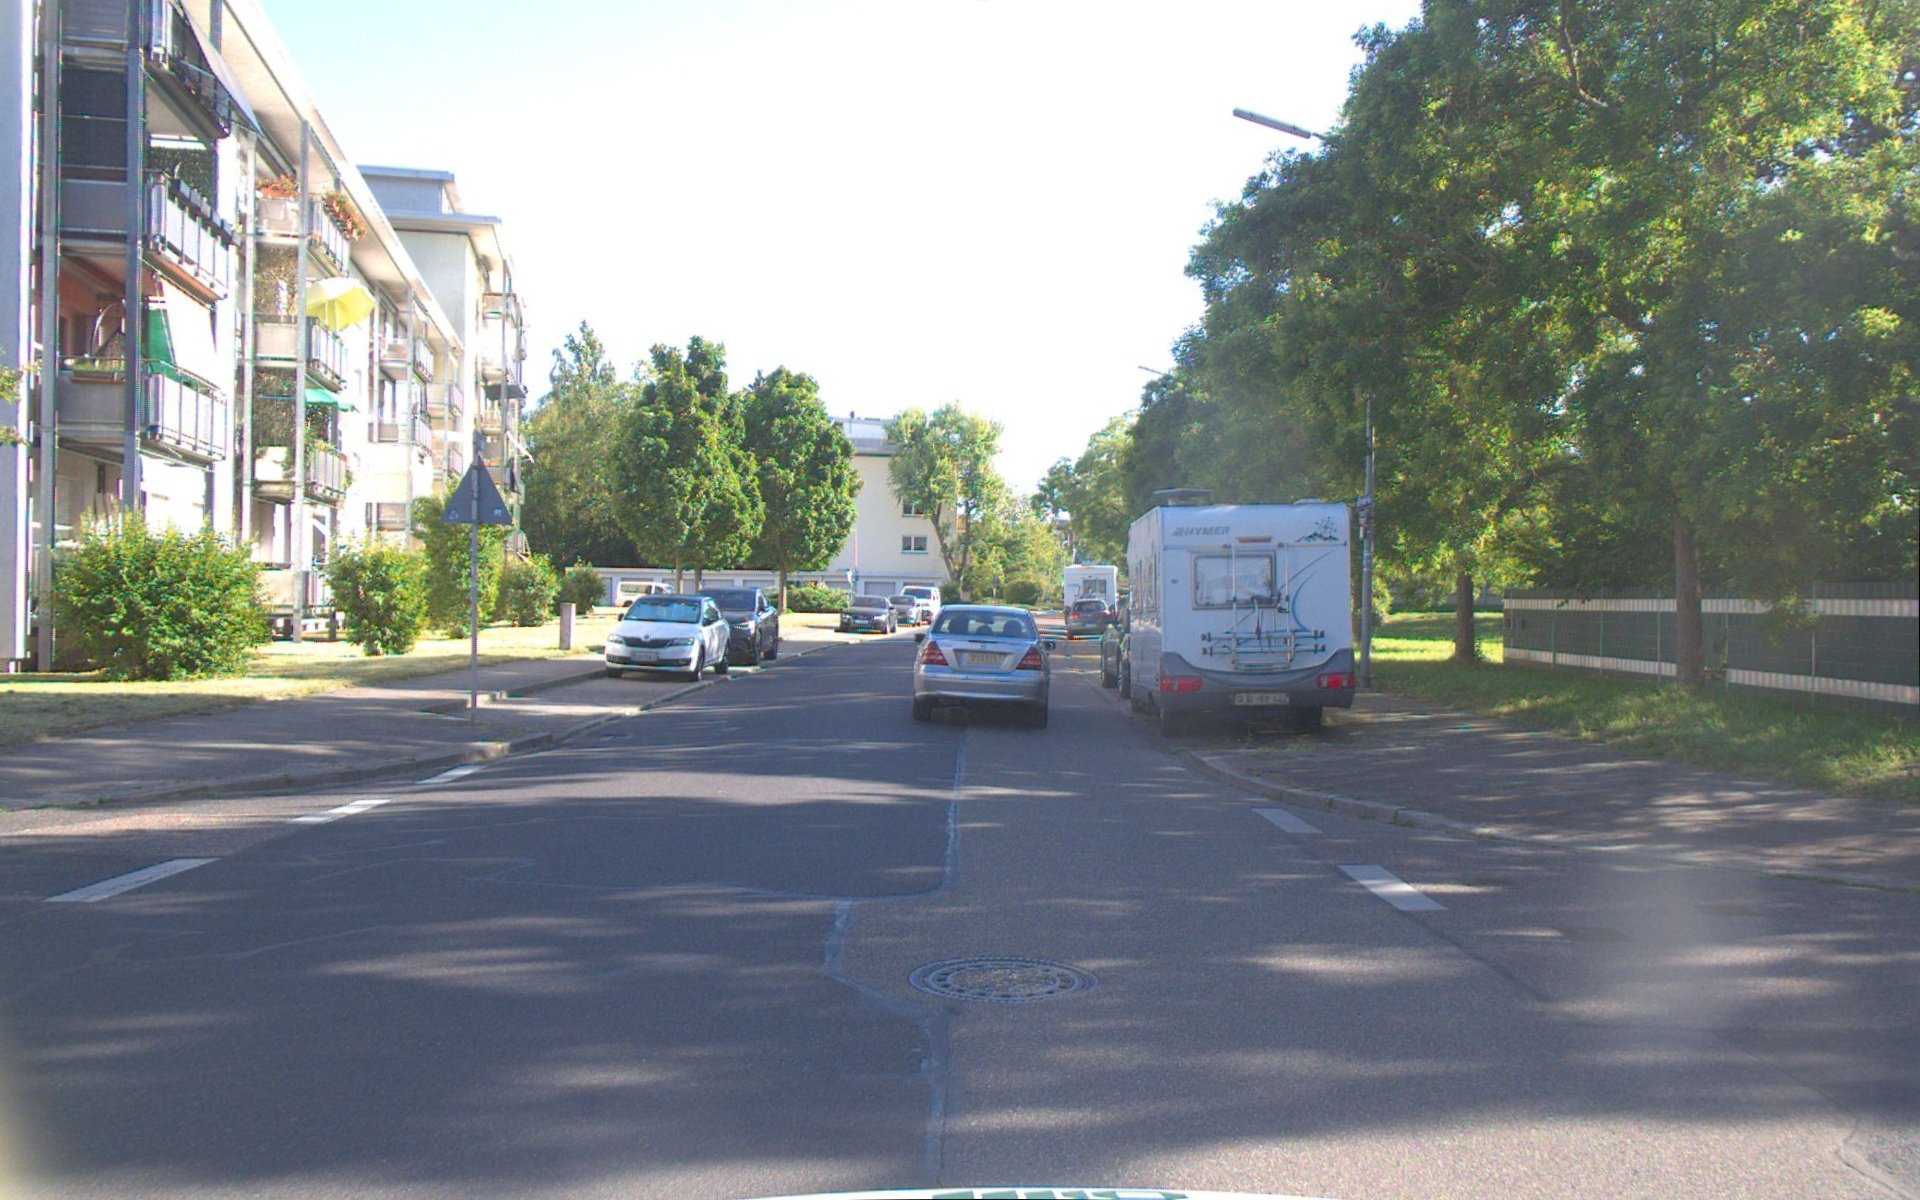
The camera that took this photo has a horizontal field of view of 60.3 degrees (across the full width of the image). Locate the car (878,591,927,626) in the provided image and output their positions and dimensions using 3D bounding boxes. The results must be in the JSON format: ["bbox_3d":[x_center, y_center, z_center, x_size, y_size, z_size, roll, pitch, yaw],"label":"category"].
[{"bbox_3d":[-2.685,0.406,78.130,1.795,1.544,4.224,3,0,5],"label":"car"}]

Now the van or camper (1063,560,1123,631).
[{"bbox_3d":[5.696,-0.214,71.426,2.444,2.895,6.854,0,0,3],"label":"van or camper"}]

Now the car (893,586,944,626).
[{"bbox_3d":[-2.085,0.303,84.714,1.972,1.918,5.194,2,0,5],"label":"car"}]

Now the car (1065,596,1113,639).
[{"bbox_3d":[4.987,0.647,64.340,1.684,1.551,4.430,-2,0,3],"label":"car"}]

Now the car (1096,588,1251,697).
[{"bbox_3d":[3.526,0.650,28.141,1.953,1.669,4.536,-1,0,-1],"label":"car"}]

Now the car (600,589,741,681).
[{"bbox_3d":[-5.152,0.579,29.961,1.612,1.492,4.332,2,0,2],"label":"car"}]

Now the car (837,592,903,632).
[{"bbox_3d":[-3.506,0.451,65.434,1.992,1.519,5.259,0,0,4],"label":"car"}]

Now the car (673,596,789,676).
[{"bbox_3d":[-4.996,0.752,36.661,1.875,1.632,4.812,0,0,0],"label":"car"}]

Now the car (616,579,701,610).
[{"bbox_3d":[-19.746,-0.393,108.355,4.996,1.985,2.239,0,0,12],"label":"car"}]

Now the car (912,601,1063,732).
[{"bbox_3d":[0.355,0.790,20.912,1.697,1.459,3.438,2,-1,1],"label":"car"}]

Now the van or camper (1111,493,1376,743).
[{"bbox_3d":[3.405,0.185,21.348,2.303,2.641,6.426,-2,0,1],"label":"van or camper"}]
